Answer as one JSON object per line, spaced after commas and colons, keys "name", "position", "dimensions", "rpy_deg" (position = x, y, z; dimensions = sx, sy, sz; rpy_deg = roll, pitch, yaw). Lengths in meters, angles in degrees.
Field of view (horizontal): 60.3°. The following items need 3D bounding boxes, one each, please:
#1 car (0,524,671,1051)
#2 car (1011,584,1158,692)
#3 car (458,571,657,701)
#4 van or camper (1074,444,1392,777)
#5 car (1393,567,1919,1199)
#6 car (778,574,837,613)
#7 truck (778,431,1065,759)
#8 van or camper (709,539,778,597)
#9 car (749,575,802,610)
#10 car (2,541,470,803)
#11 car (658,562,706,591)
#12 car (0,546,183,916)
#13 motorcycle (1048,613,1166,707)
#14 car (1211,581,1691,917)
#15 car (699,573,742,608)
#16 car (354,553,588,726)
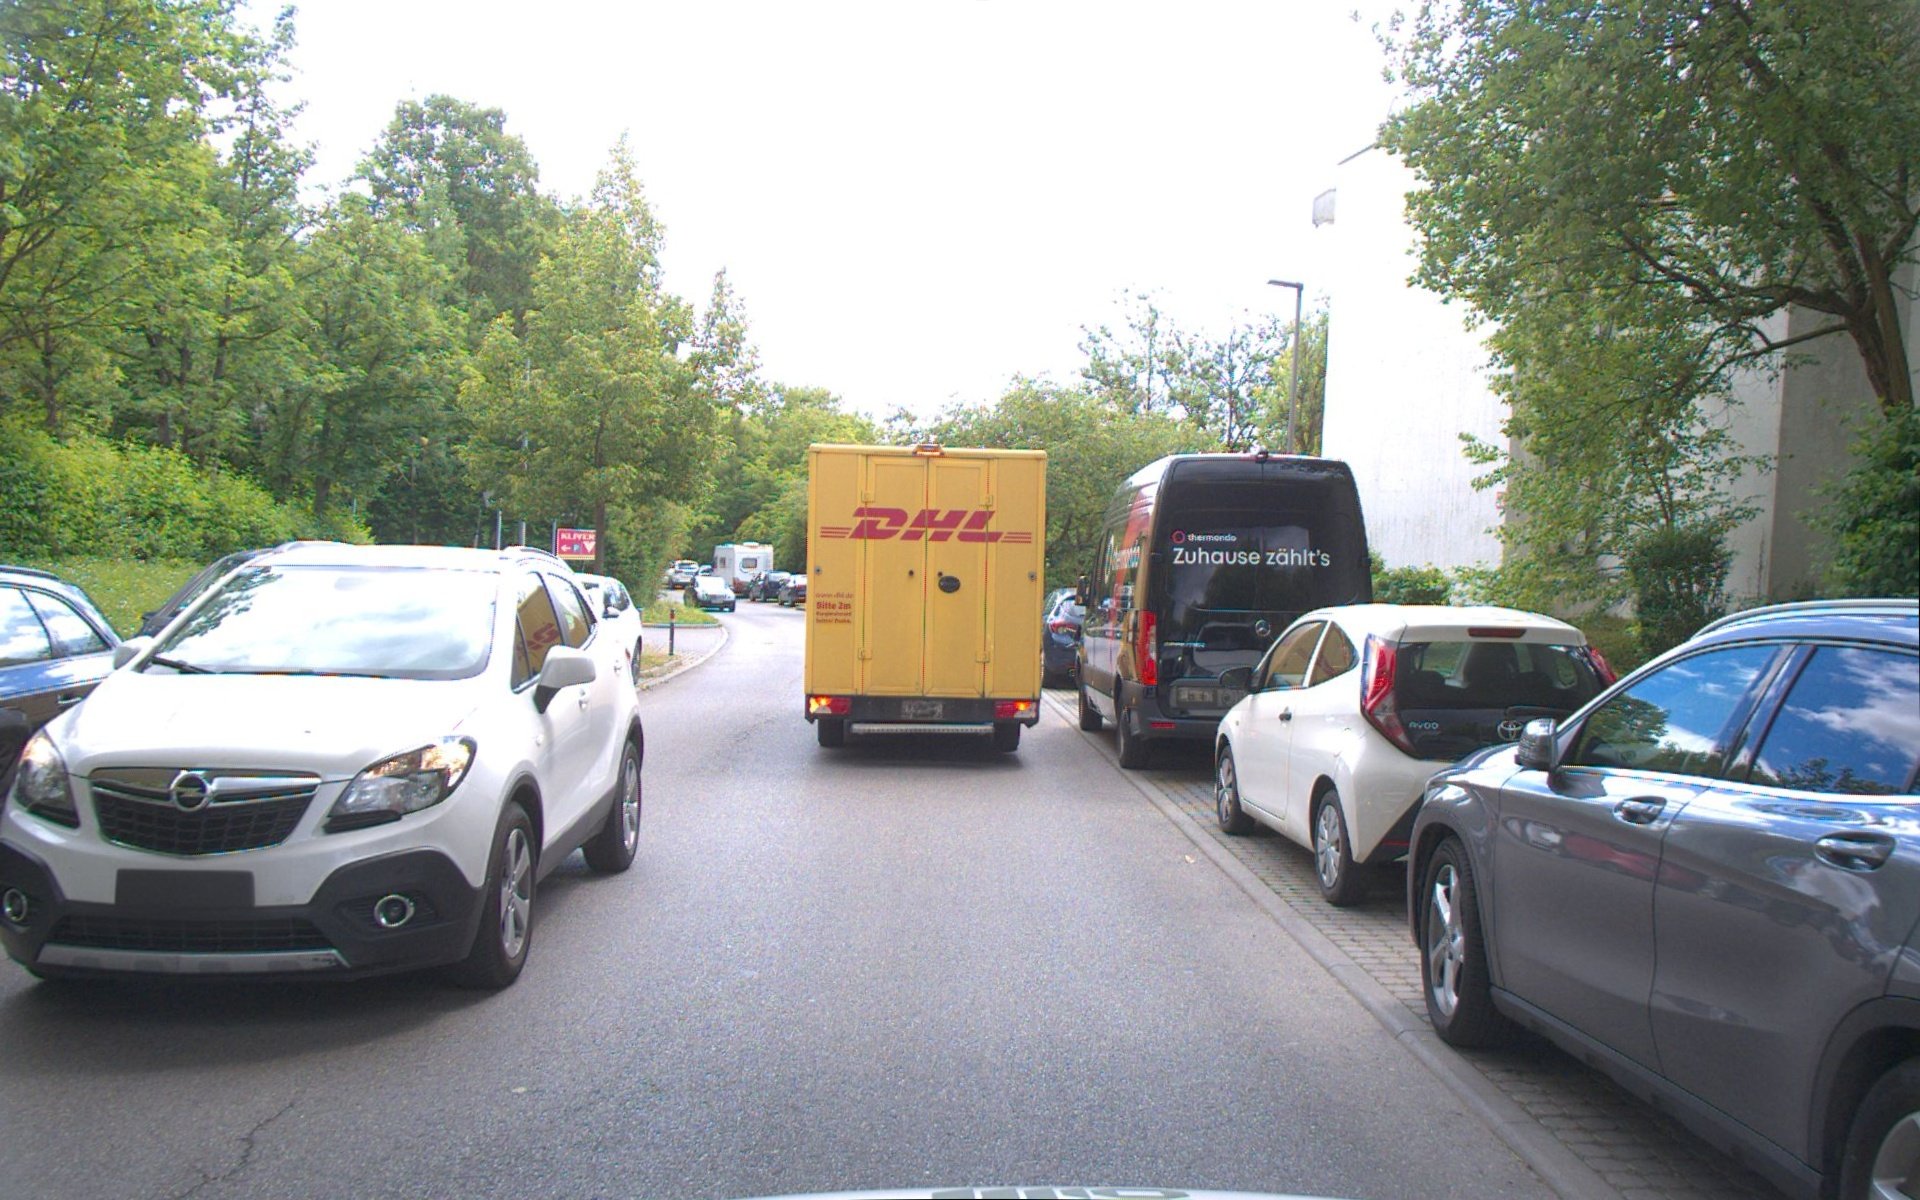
{"name": "car", "position": [-2.431, 0.561, 7.232], "dimensions": [1.712, 1.639, 4.051], "rpy_deg": [1, 1, -2]}
{"name": "car", "position": [1.855, 0.550, 25.716], "dimensions": [1.694, 1.458, 3.966], "rpy_deg": [3, 0, -4]}
{"name": "car", "position": [-5.140, 0.402, 21.623], "dimensions": [1.641, 1.461, 3.968], "rpy_deg": [3, 1, -1]}
{"name": "van or camper", "position": [2.298, 0.073, 15.491], "dimensions": [1.953, 2.567, 5.469], "rpy_deg": [0, 0, -2]}
{"name": "car", "position": [2.538, 0.714, 4.176], "dimensions": [1.665, 1.522, 4.117], "rpy_deg": [2, 0, -2]}
{"name": "car", "position": [-7.143, -0.313, 77.133], "dimensions": [1.815, 1.556, 3.980], "rpy_deg": [2, 2, -18]}
{"name": "truck", "position": [-0.490, -0.091, 17.355], "dimensions": [2.417, 2.749, 6.821], "rpy_deg": [0, 1, -3]}
{"name": "van or camper", "position": [-11.918, -1.787, 90.837], "dimensions": [2.293, 2.921, 5.223], "rpy_deg": [2, 2, -24]}
{"name": "car", "position": [-9.425, -0.416, 84.275], "dimensions": [1.815, 1.556, 3.980], "rpy_deg": [2, 2, -18]}
{"name": "car", "position": [-5.058, 0.426, 12.184], "dimensions": [1.847, 1.586, 3.836], "rpy_deg": [1, 1, -2]}
{"name": "car", "position": [-17.369, -1.465, 103.128], "dimensions": [1.821, 1.556, 3.967], "rpy_deg": [2, 2, -27]}
{"name": "car", "position": [-4.863, 0.514, 6.414], "dimensions": [1.848, 1.535, 4.448], "rpy_deg": [3, 1, -5]}
{"name": "motorcycle", "position": [1.891, 0.764, 21.695], "dimensions": [0.883, 1.131, 2.077], "rpy_deg": [2, -1, -14]}
{"name": "car", "position": [2.527, 0.674, 9.301], "dimensions": [1.531, 1.522, 3.329], "rpy_deg": [1, 1, -3]}
{"name": "car", "position": [-10.193, -0.416, 70.661], "dimensions": [1.642, 1.378, 3.964], "rpy_deg": [3, 1, -6]}
{"name": "car", "position": [-4.859, 0.357, 16.767], "dimensions": [1.497, 1.532, 2.713], "rpy_deg": [3, 0, 0]}
